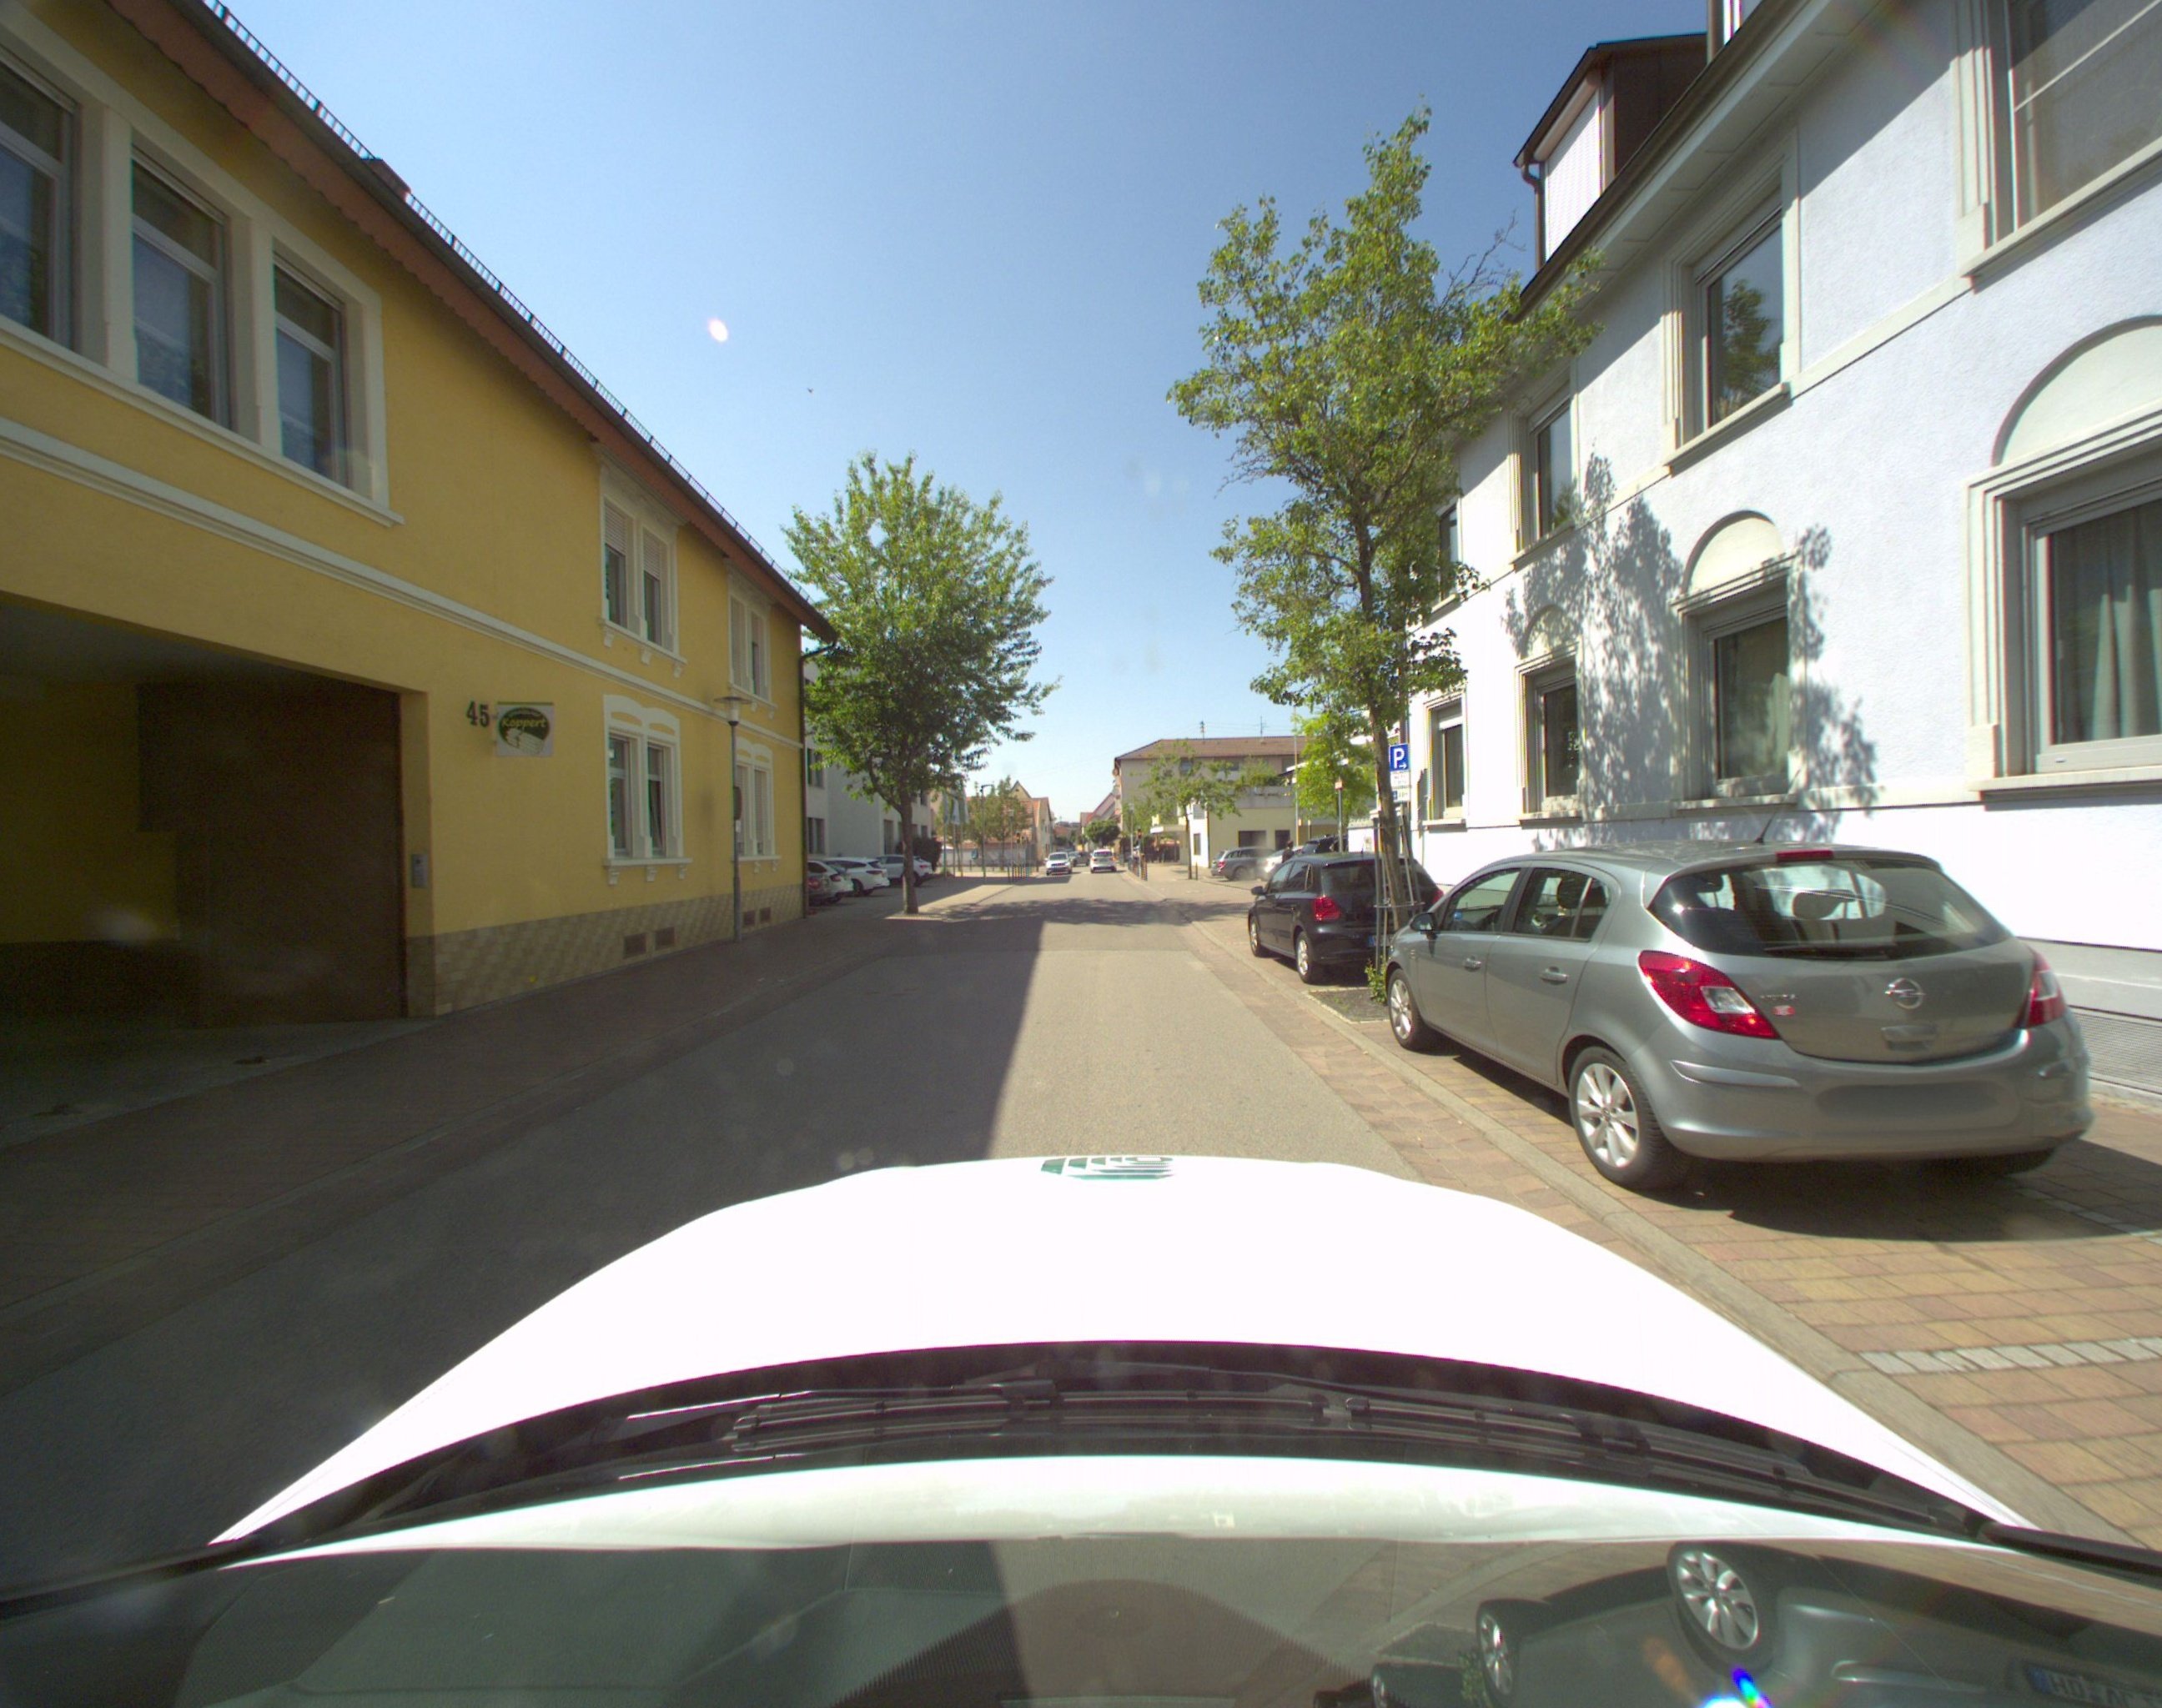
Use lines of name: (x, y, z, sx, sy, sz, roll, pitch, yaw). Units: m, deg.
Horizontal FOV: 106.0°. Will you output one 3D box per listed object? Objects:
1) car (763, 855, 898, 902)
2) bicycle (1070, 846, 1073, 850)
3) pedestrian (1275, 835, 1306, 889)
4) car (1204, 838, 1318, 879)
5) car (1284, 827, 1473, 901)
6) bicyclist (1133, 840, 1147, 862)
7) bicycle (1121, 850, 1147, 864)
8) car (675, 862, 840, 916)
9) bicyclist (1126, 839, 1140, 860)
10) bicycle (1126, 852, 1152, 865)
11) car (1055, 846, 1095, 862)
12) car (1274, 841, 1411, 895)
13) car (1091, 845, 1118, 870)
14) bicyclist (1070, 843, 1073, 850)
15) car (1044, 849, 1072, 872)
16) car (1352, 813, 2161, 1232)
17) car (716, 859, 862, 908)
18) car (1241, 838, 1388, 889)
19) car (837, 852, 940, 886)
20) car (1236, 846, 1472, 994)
car: (-9.516, 0.923, 31.159, 4.489, 1.554, 1.935, -2, 1, 0)
bicycle: (-2.074, -1.383, 182.451, 0.662, 1.006, 1.897, -2, 1, -1)
pedestrian: (6.929, 0.267, 26.965, 0.747, 1.717, 0.697, -3, 0, -6)
car: (8.034, 0.195, 36.574, 4.569, 1.512, 1.913, -3, 0, -6)
car: (8.447, 0.267, 23.487, 4.616, 1.771, 2.147, -3, 0, -1)
bicyclist: (4.585, -0.213, 63.580, 0.764, 1.664, 0.664, -3, 0, -30)
bicycle: (4.061, 0.256, 62.157, 1.900, 0.958, 0.670, -4, 1, -26)
car: (-9.242, 0.982, 23.553, 3.979, 1.431, 1.970, 0, 1, -4)
bicyclist: (3.977, -0.332, 62.127, 0.763, 1.581, 0.665, -6, 2, -25)
bicycle: (4.529, 0.344, 63.536, 1.902, 0.958, 0.669, -4, 0, -31)
car: (-0.556, 0.005, 79.734, 1.862, 1.464, 4.464, -1, 0, 30)
car: (8.234, 0.421, 25.822, 3.724, 1.452, 1.741, -3, 0, -6)
car: (1.626, 0.216, 57.629, 1.827, 1.652, 4.001, 1, 0, 1)
bicyclist: (-2.066, -1.675, 182.421, 0.671, 1.482, 0.770, -2, 1, -1)
car: (-1.610, 0.421, 58.568, 1.845, 1.573, 4.000, -1, 0, 0)
car: (3.176, 0.616, 5.038, 1.711, 1.481, 4.097, -2, 0, 2)
car: (-9.258, 0.915, 26.055, 3.976, 1.451, 1.806, 0, 1, -2)
car: (8.063, 0.309, 28.310, 4.529, 1.440, 1.836, -3, 0, -6)
car: (-9.271, 0.705, 39.476, 4.494, 1.554, 2.147, 0, 0, -1)
car: (3.253, 0.674, 10.542, 1.698, 1.481, 3.921, -2, 1, 0)
